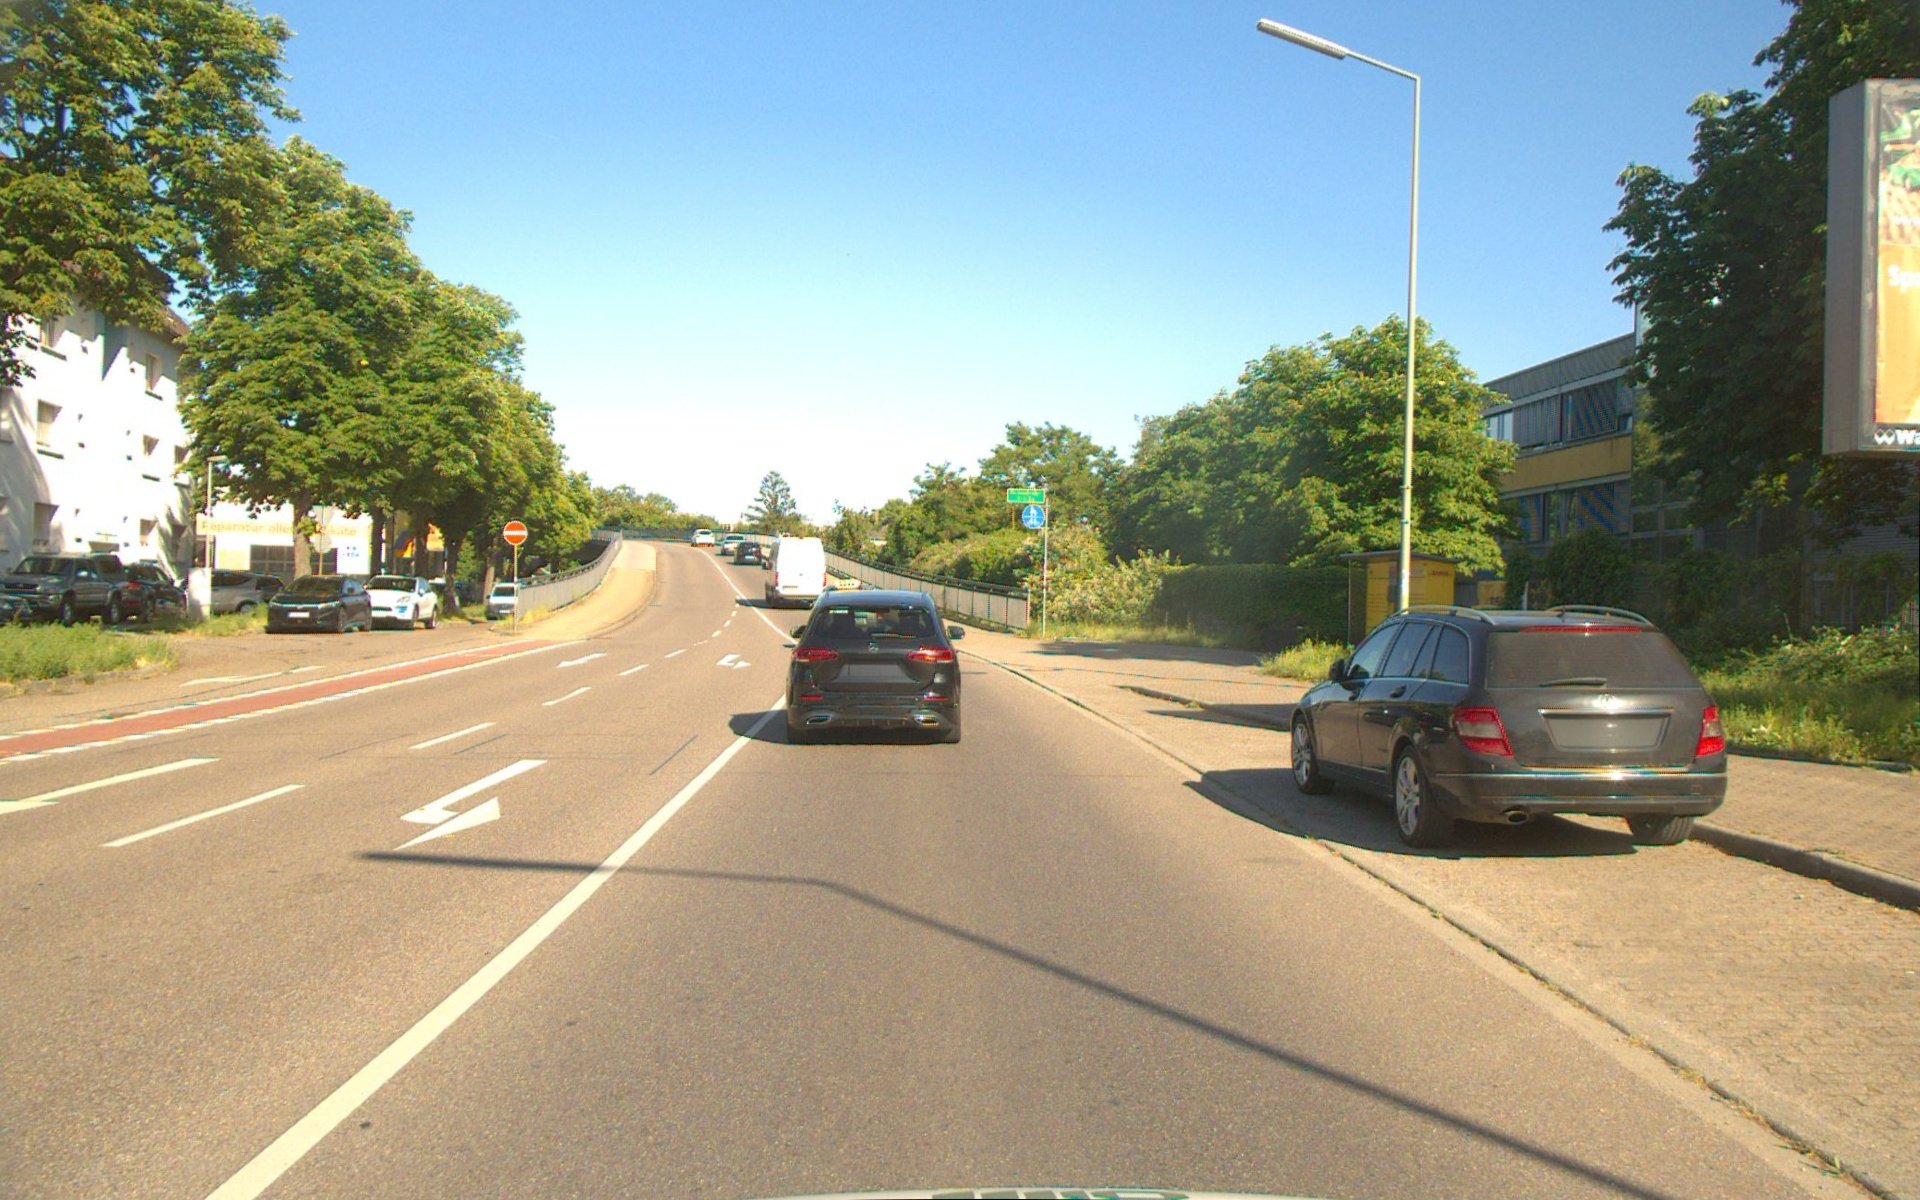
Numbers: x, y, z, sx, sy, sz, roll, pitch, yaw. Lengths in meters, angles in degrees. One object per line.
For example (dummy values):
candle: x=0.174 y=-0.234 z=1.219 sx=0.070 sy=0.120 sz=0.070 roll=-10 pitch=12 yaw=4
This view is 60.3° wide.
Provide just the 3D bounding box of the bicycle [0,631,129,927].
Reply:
bicycle: x=-4.568 y=0.804 z=7.101 sx=0.778 sy=1.247 sz=3.207 roll=1 pitch=0 yaw=-8

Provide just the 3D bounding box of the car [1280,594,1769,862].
car: x=3.595 y=0.713 z=11.473 sx=1.772 sy=1.444 sz=4.423 roll=1 pitch=1 yaw=-1

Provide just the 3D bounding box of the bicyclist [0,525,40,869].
bicyclist: x=-4.567 y=0.418 z=7.140 sx=0.758 sy=1.510 sz=0.824 roll=2 pitch=1 yaw=-8

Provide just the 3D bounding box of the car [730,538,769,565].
car: x=-13.302 y=-3.052 z=104.710 sx=1.879 sy=1.514 sz=4.270 roll=0 pitch=0 yaw=1

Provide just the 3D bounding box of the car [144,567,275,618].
car: x=-24.570 y=-0.237 z=54.168 sx=3.628 sy=1.536 sz=1.763 roll=1 pitch=1 yaw=-36

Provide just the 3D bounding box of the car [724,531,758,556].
car: x=-15.937 y=-4.115 z=120.501 sx=1.952 sy=1.709 sz=4.000 roll=0 pitch=0 yaw=1

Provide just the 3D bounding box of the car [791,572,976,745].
car: x=-0.855 y=0.556 z=17.856 sx=1.735 sy=1.620 sz=3.986 roll=1 pitch=0 yaw=-4

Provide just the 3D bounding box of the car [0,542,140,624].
car: x=-23.049 y=-0.435 z=42.741 sx=1.714 sy=1.964 sz=5.095 roll=1 pitch=0 yaw=-7

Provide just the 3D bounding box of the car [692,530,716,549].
car: x=-22.728 y=-5.369 z=146.921 sx=1.844 sy=1.570 sz=3.988 roll=2 pitch=1 yaw=-13

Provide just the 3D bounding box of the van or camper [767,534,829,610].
van or camper: x=-6.424 y=-1.098 z=64.968 sx=2.184 sy=2.787 sz=7.069 roll=2 pitch=1 yaw=-7

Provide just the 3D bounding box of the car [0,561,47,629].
car: x=-22.311 y=-0.140 z=35.883 sx=3.917 sy=1.454 sz=1.902 roll=2 pitch=-1 yaw=-13

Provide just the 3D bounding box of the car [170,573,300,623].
car: x=-24.980 y=-0.098 z=56.998 sx=3.945 sy=1.625 sz=1.980 roll=0 pitch=2 yaw=-30

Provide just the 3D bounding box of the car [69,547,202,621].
car: x=-23.828 y=-0.455 z=47.998 sx=2.031 sy=1.964 sz=4.777 roll=2 pitch=0 yaw=-9

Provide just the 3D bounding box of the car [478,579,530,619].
car: x=-24.316 y=-0.085 z=88.316 sx=1.886 sy=2.026 sz=4.252 roll=2 pitch=1 yaw=-6

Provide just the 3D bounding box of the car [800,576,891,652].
car: x=-2.753 y=0.328 z=39.032 sx=1.771 sy=1.668 sz=3.992 roll=2 pitch=0 yaw=-9

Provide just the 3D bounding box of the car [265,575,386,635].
car: x=-17.250 y=0.111 z=45.214 sx=2.000 sy=1.489 sz=4.952 roll=1 pitch=0 yaw=-9

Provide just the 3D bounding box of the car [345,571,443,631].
car: x=-18.152 y=0.004 z=53.282 sx=2.000 sy=1.759 sz=5.227 roll=2 pitch=0 yaw=-8
